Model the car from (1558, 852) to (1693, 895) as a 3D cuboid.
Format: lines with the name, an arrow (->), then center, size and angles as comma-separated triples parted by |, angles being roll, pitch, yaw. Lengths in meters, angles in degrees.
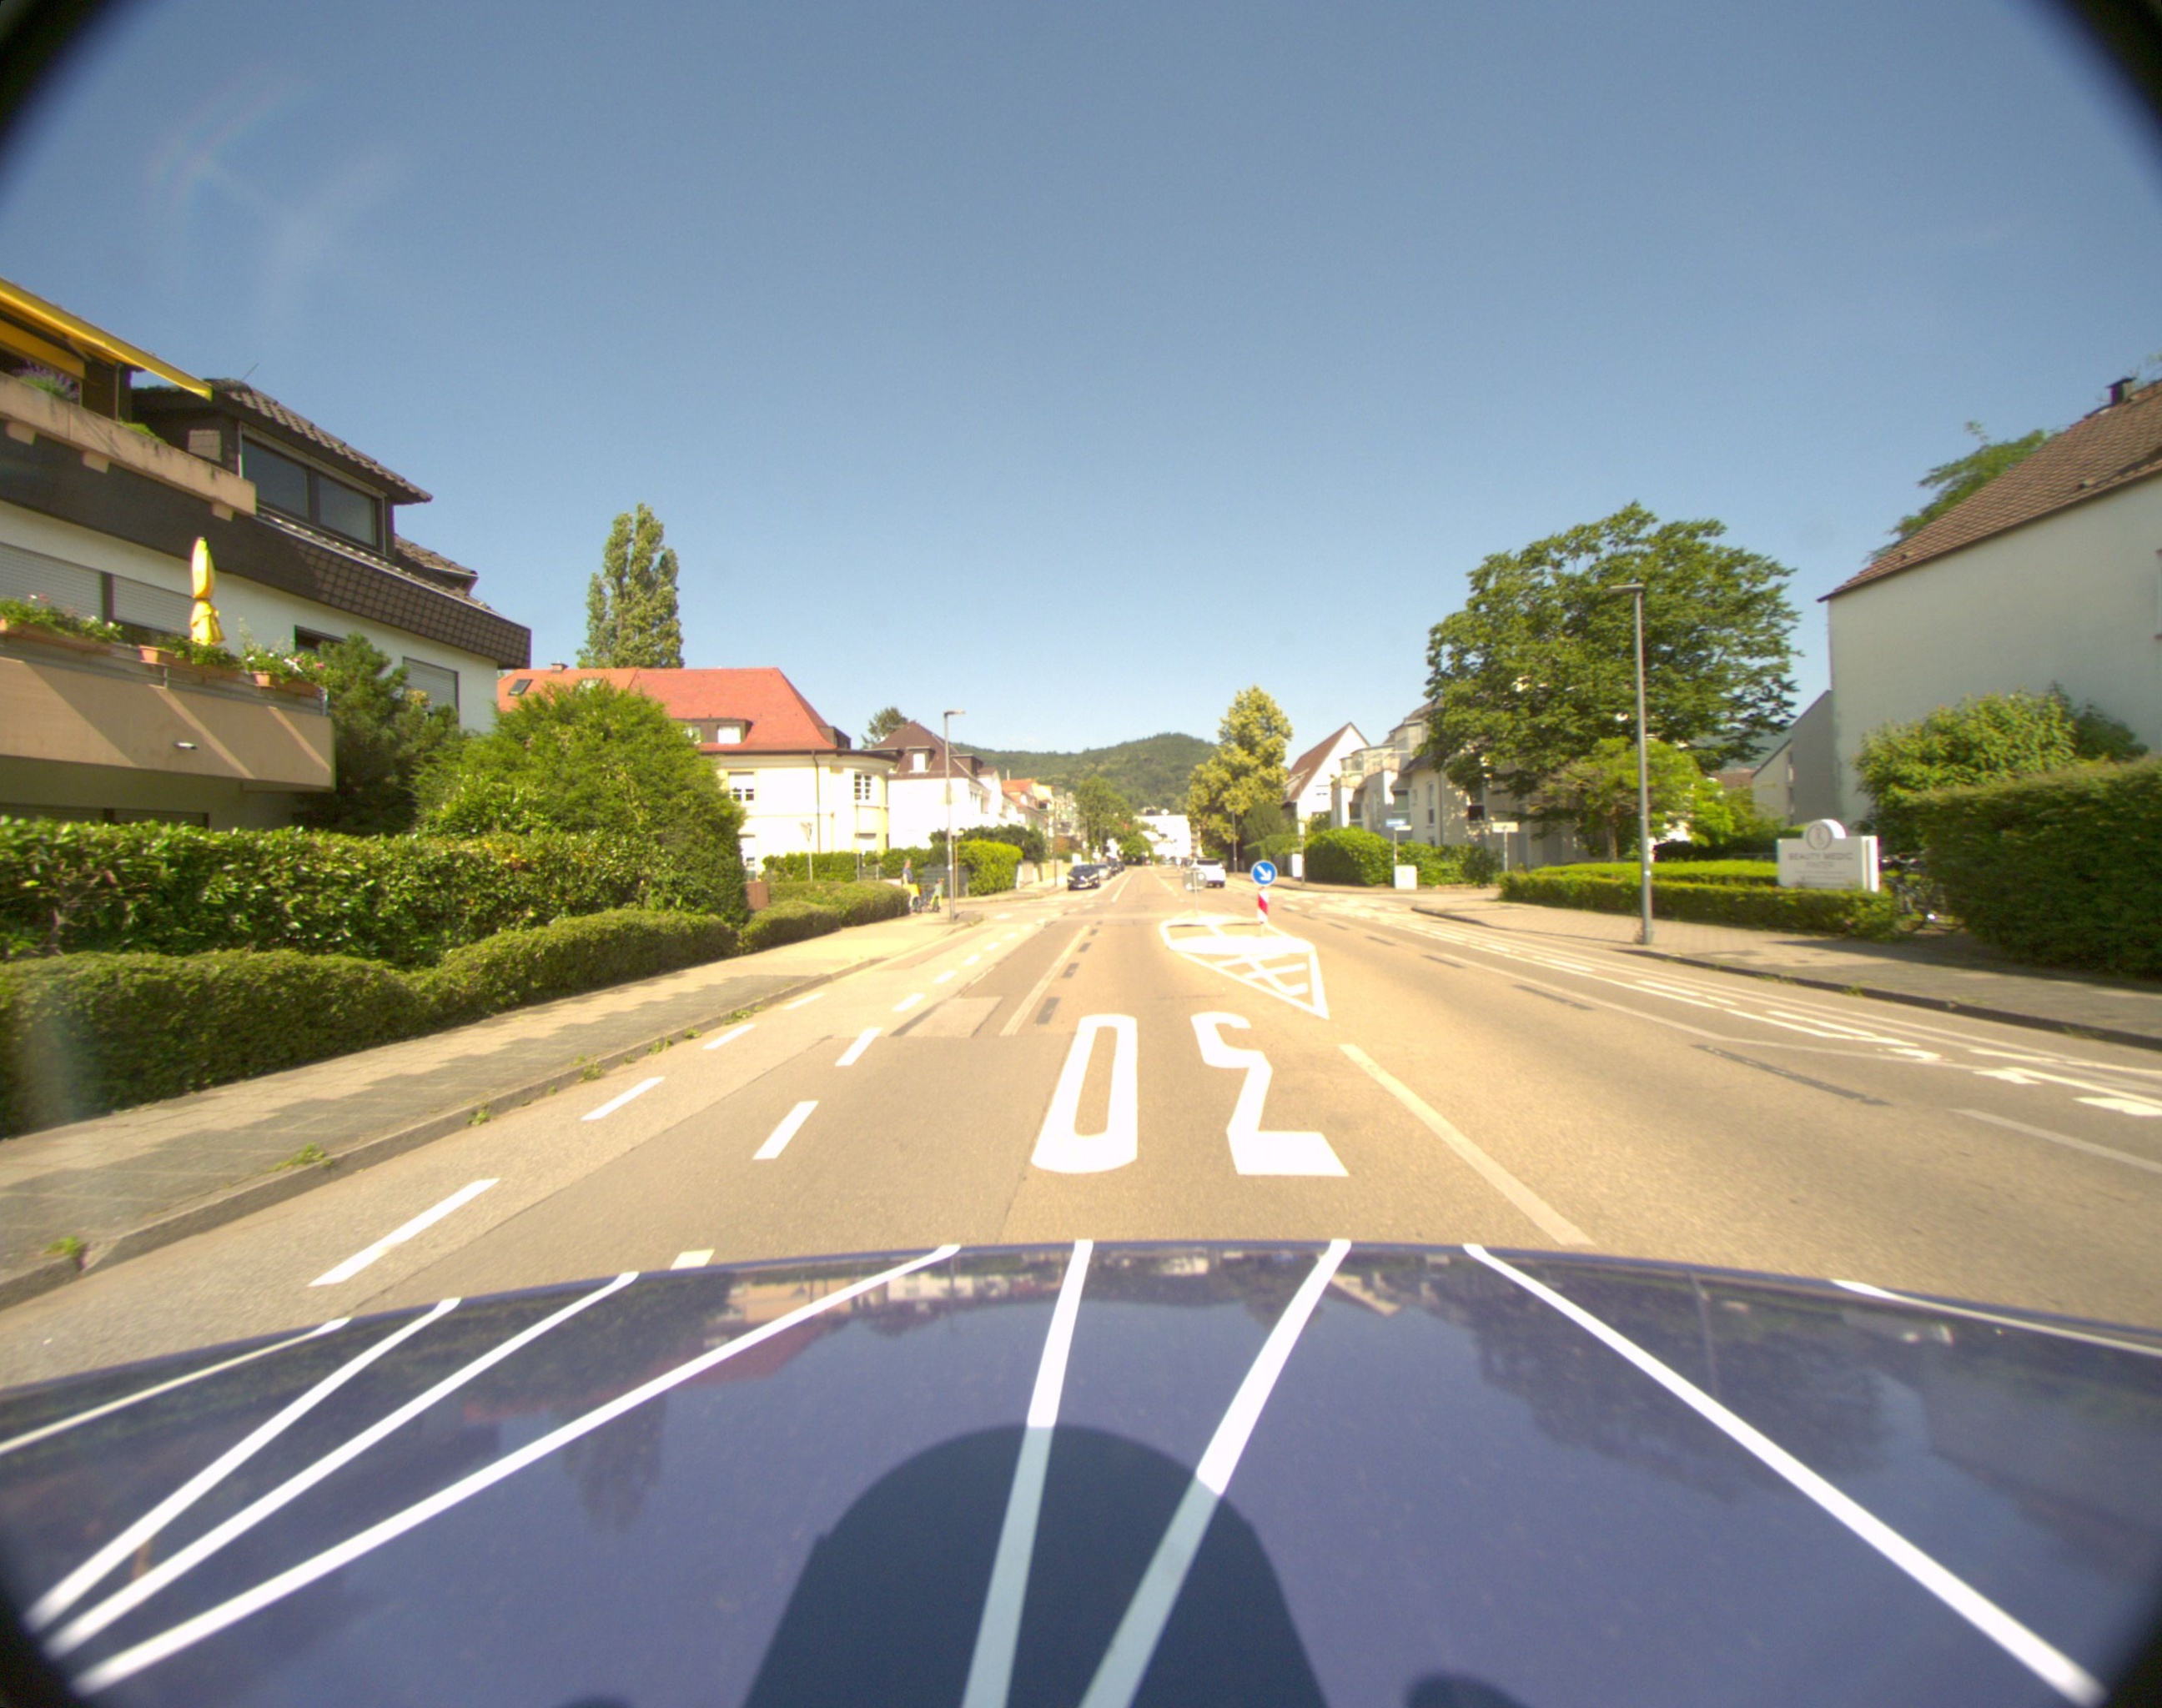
car -> 19.352, 0.671, 27.128 | 3.500, 1.404, 1.727 | -2, 0, 4

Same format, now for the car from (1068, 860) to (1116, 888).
car -> 0.691, 1.099, 43.901 | 1.739, 1.460, 4.350 | -1, 0, 15

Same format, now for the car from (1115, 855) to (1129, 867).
car -> 5.602, 0.961, 105.094 | 1.700, 1.573, 4.902 | -4, 0, 2

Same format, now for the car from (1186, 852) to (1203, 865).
car -> 14.354, 0.553, 96.077 | 1.837, 1.476, 4.564 | -3, -1, 5

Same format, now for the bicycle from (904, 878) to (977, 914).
bicycle -> -4.897, 1.448, 26.397 | 2.704, 1.151, 0.865 | -2, 0, 37

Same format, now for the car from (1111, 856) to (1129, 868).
car -> 4.680, 0.940, 91.009 | 1.622, 1.440, 4.003 | -2, 0, 11

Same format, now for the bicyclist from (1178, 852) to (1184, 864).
bicyclist -> 12.582, 0.517, 95.606 | 0.677, 1.571, 0.859 | 1, 1, 5

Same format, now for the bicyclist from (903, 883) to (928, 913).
bicyclist -> -5.234, 1.383, 24.018 | 0.607, 0.928, 0.400 | -1, 1, 28

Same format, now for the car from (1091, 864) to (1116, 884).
car -> 1.858, 1.579, 62.076 | 1.740, 1.321, 4.077 | -4, 1, 5

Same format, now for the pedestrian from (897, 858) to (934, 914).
pedestrian -> -5.759, 1.098, 26.336 | 0.903, 1.861, 1.186 | -2, 1, -29

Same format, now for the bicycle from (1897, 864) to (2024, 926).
bicycle -> 13.933, 0.626, 12.081 | 0.334, 0.869, 1.369 | -6, 0, -2

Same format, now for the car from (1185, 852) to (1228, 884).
car -> 6.917, 0.730, 42.215 | 1.919, 1.657, 4.507 | 0, 0, 4

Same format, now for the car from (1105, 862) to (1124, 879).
car -> 3.311, 1.615, 75.127 | 1.726, 1.440, 4.169 | -4, 0, 3

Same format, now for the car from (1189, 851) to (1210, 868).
car -> 13.409, 0.583, 86.063 | 1.889, 1.908, 4.869 | -1, 0, 3

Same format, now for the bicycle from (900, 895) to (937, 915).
bicycle -> -5.135, 1.617, 24.041 | 1.148, 0.596, 0.403 | -1, 0, 29

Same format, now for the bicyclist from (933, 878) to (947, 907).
bicyclist -> -4.604, 1.244, 24.765 | 0.402, 0.924, 0.657 | -2, 1, -11

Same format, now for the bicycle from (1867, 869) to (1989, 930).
bicycle -> 13.451, 0.696, 12.117 | 0.334, 0.869, 1.369 | -6, 0, -2

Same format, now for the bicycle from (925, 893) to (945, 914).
bicycle -> -4.775, 1.613, 24.820 | 0.403, 0.596, 1.171 | -1, 0, -23
